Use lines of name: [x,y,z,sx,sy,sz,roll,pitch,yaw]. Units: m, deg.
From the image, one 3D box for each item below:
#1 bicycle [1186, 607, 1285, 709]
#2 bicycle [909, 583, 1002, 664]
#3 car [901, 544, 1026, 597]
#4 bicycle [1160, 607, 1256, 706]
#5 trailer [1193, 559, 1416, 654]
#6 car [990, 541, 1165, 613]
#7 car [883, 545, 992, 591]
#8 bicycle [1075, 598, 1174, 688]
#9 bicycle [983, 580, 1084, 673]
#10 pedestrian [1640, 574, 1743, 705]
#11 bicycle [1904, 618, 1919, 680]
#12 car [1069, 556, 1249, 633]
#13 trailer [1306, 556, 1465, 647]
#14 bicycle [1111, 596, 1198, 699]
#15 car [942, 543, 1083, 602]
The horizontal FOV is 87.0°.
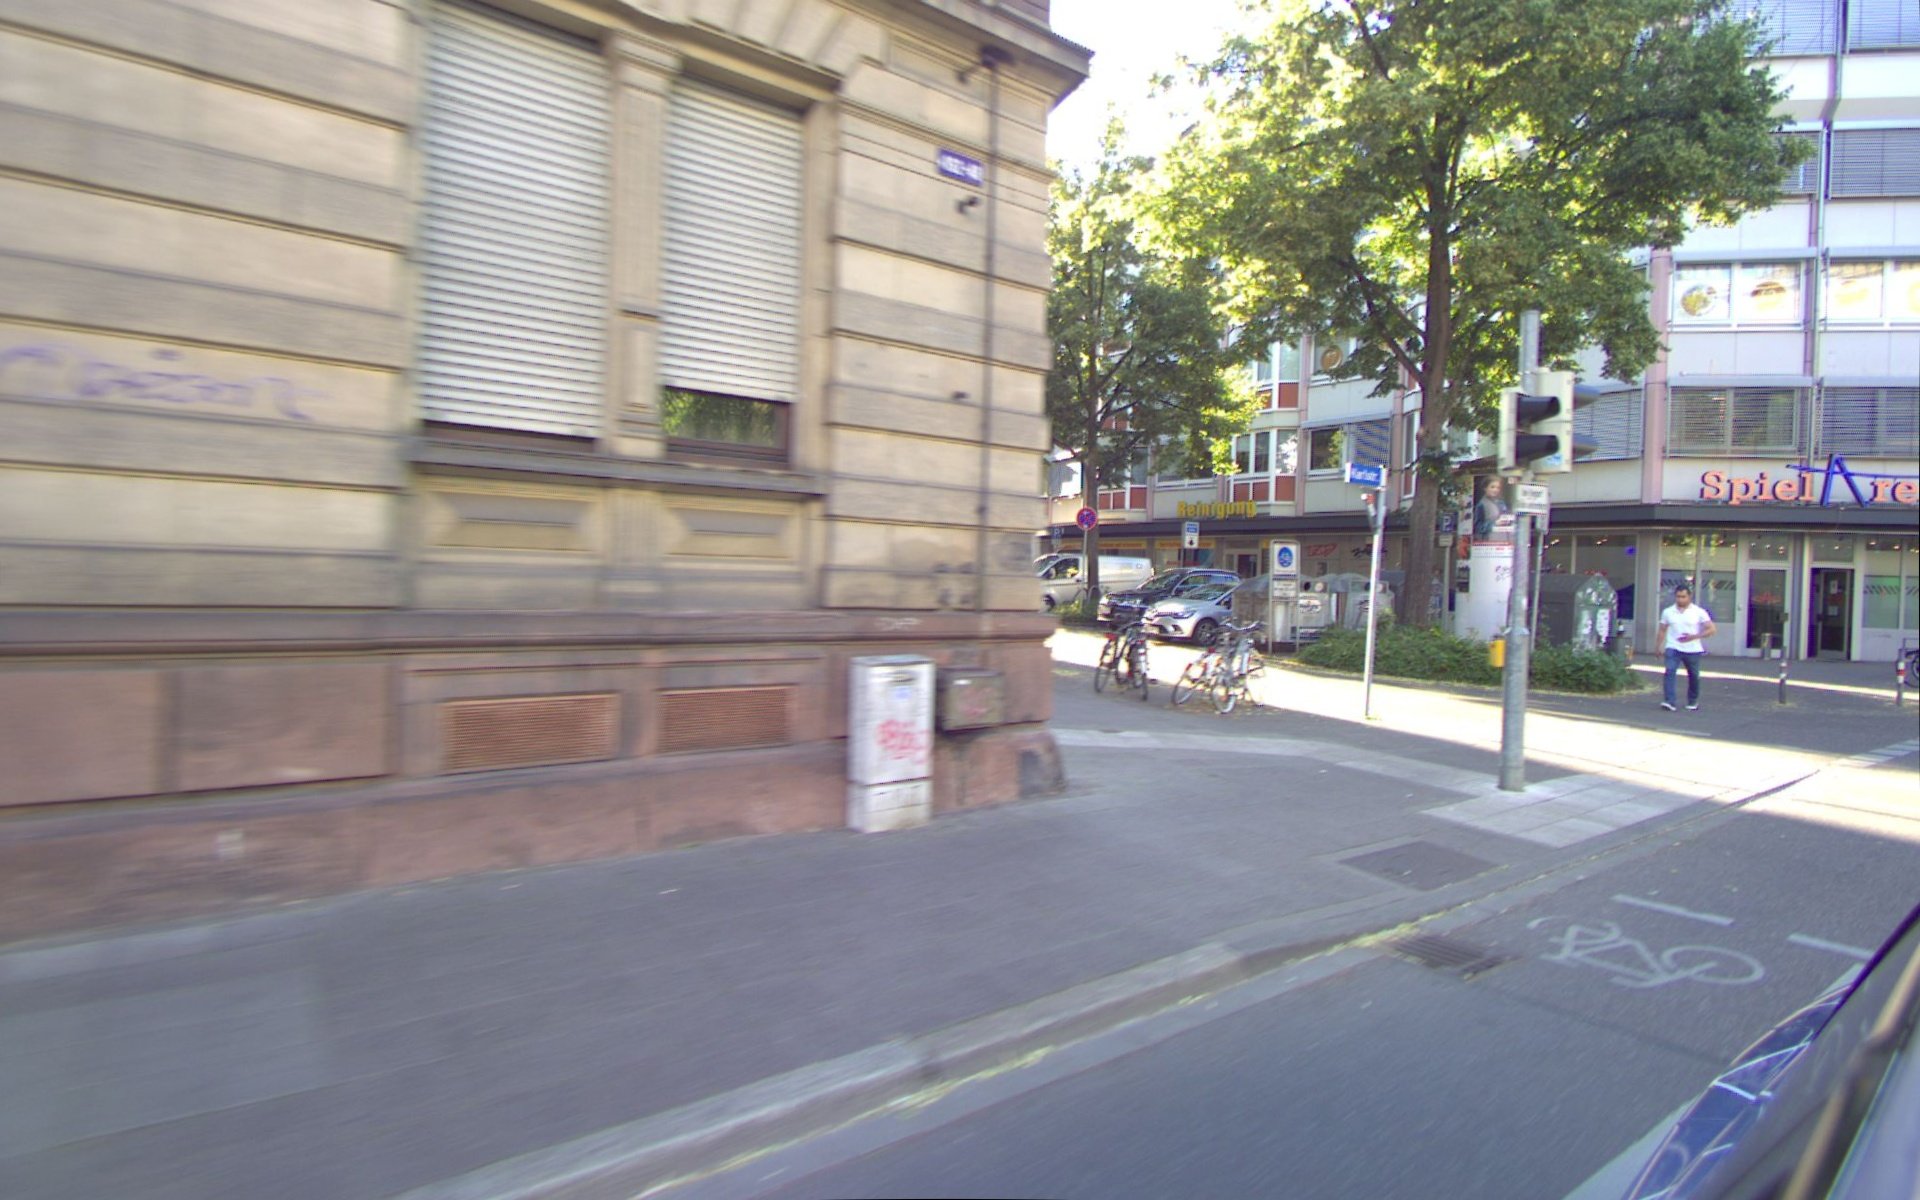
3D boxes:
bicycle: [3.156,0.609,11.466,0.449,1.037,1.883,2,1,35]
bicycle: [-0.035,0.331,15.217,0.402,1.137,1.885,2,1,33]
car: [0.128,-1.134,40.258,4.544,1.964,1.977,0,0,-19]
bicycle: [2.920,0.614,11.804,0.415,1.037,1.883,2,1,35]
trailer: [6.933,0.090,20.430,3.850,1.753,1.978,0,2,-22]
car: [3.572,-0.673,30.858,4.942,2.077,1.908,0,0,-18]
car: [-1.033,-1.431,46.240,4.546,1.964,1.976,0,0,-25]
bicycle: [2.117,0.504,12.809,0.494,1.037,1.885,2,1,33]
bicycle: [1.074,0.334,14.282,0.610,1.197,2.086,2,1,28]
pedestrian: [9.896,0.516,13.697,1.013,1.686,0.786,3,0,-35]
bicycle: [17.421,0.885,17.256,0.697,1.067,1.838,1,1,-38]
car: [4.857,-0.157,24.765,3.850,1.753,1.977,0,2,-22]
trailer: [9.715,0.006,23.112,3.120,1.906,1.584,0,3,-25]
bicycle: [2.403,0.536,12.340,0.459,1.052,1.889,2,4,29]
car: [1.838,-0.951,35.734,4.544,1.964,1.977,0,0,-18]
